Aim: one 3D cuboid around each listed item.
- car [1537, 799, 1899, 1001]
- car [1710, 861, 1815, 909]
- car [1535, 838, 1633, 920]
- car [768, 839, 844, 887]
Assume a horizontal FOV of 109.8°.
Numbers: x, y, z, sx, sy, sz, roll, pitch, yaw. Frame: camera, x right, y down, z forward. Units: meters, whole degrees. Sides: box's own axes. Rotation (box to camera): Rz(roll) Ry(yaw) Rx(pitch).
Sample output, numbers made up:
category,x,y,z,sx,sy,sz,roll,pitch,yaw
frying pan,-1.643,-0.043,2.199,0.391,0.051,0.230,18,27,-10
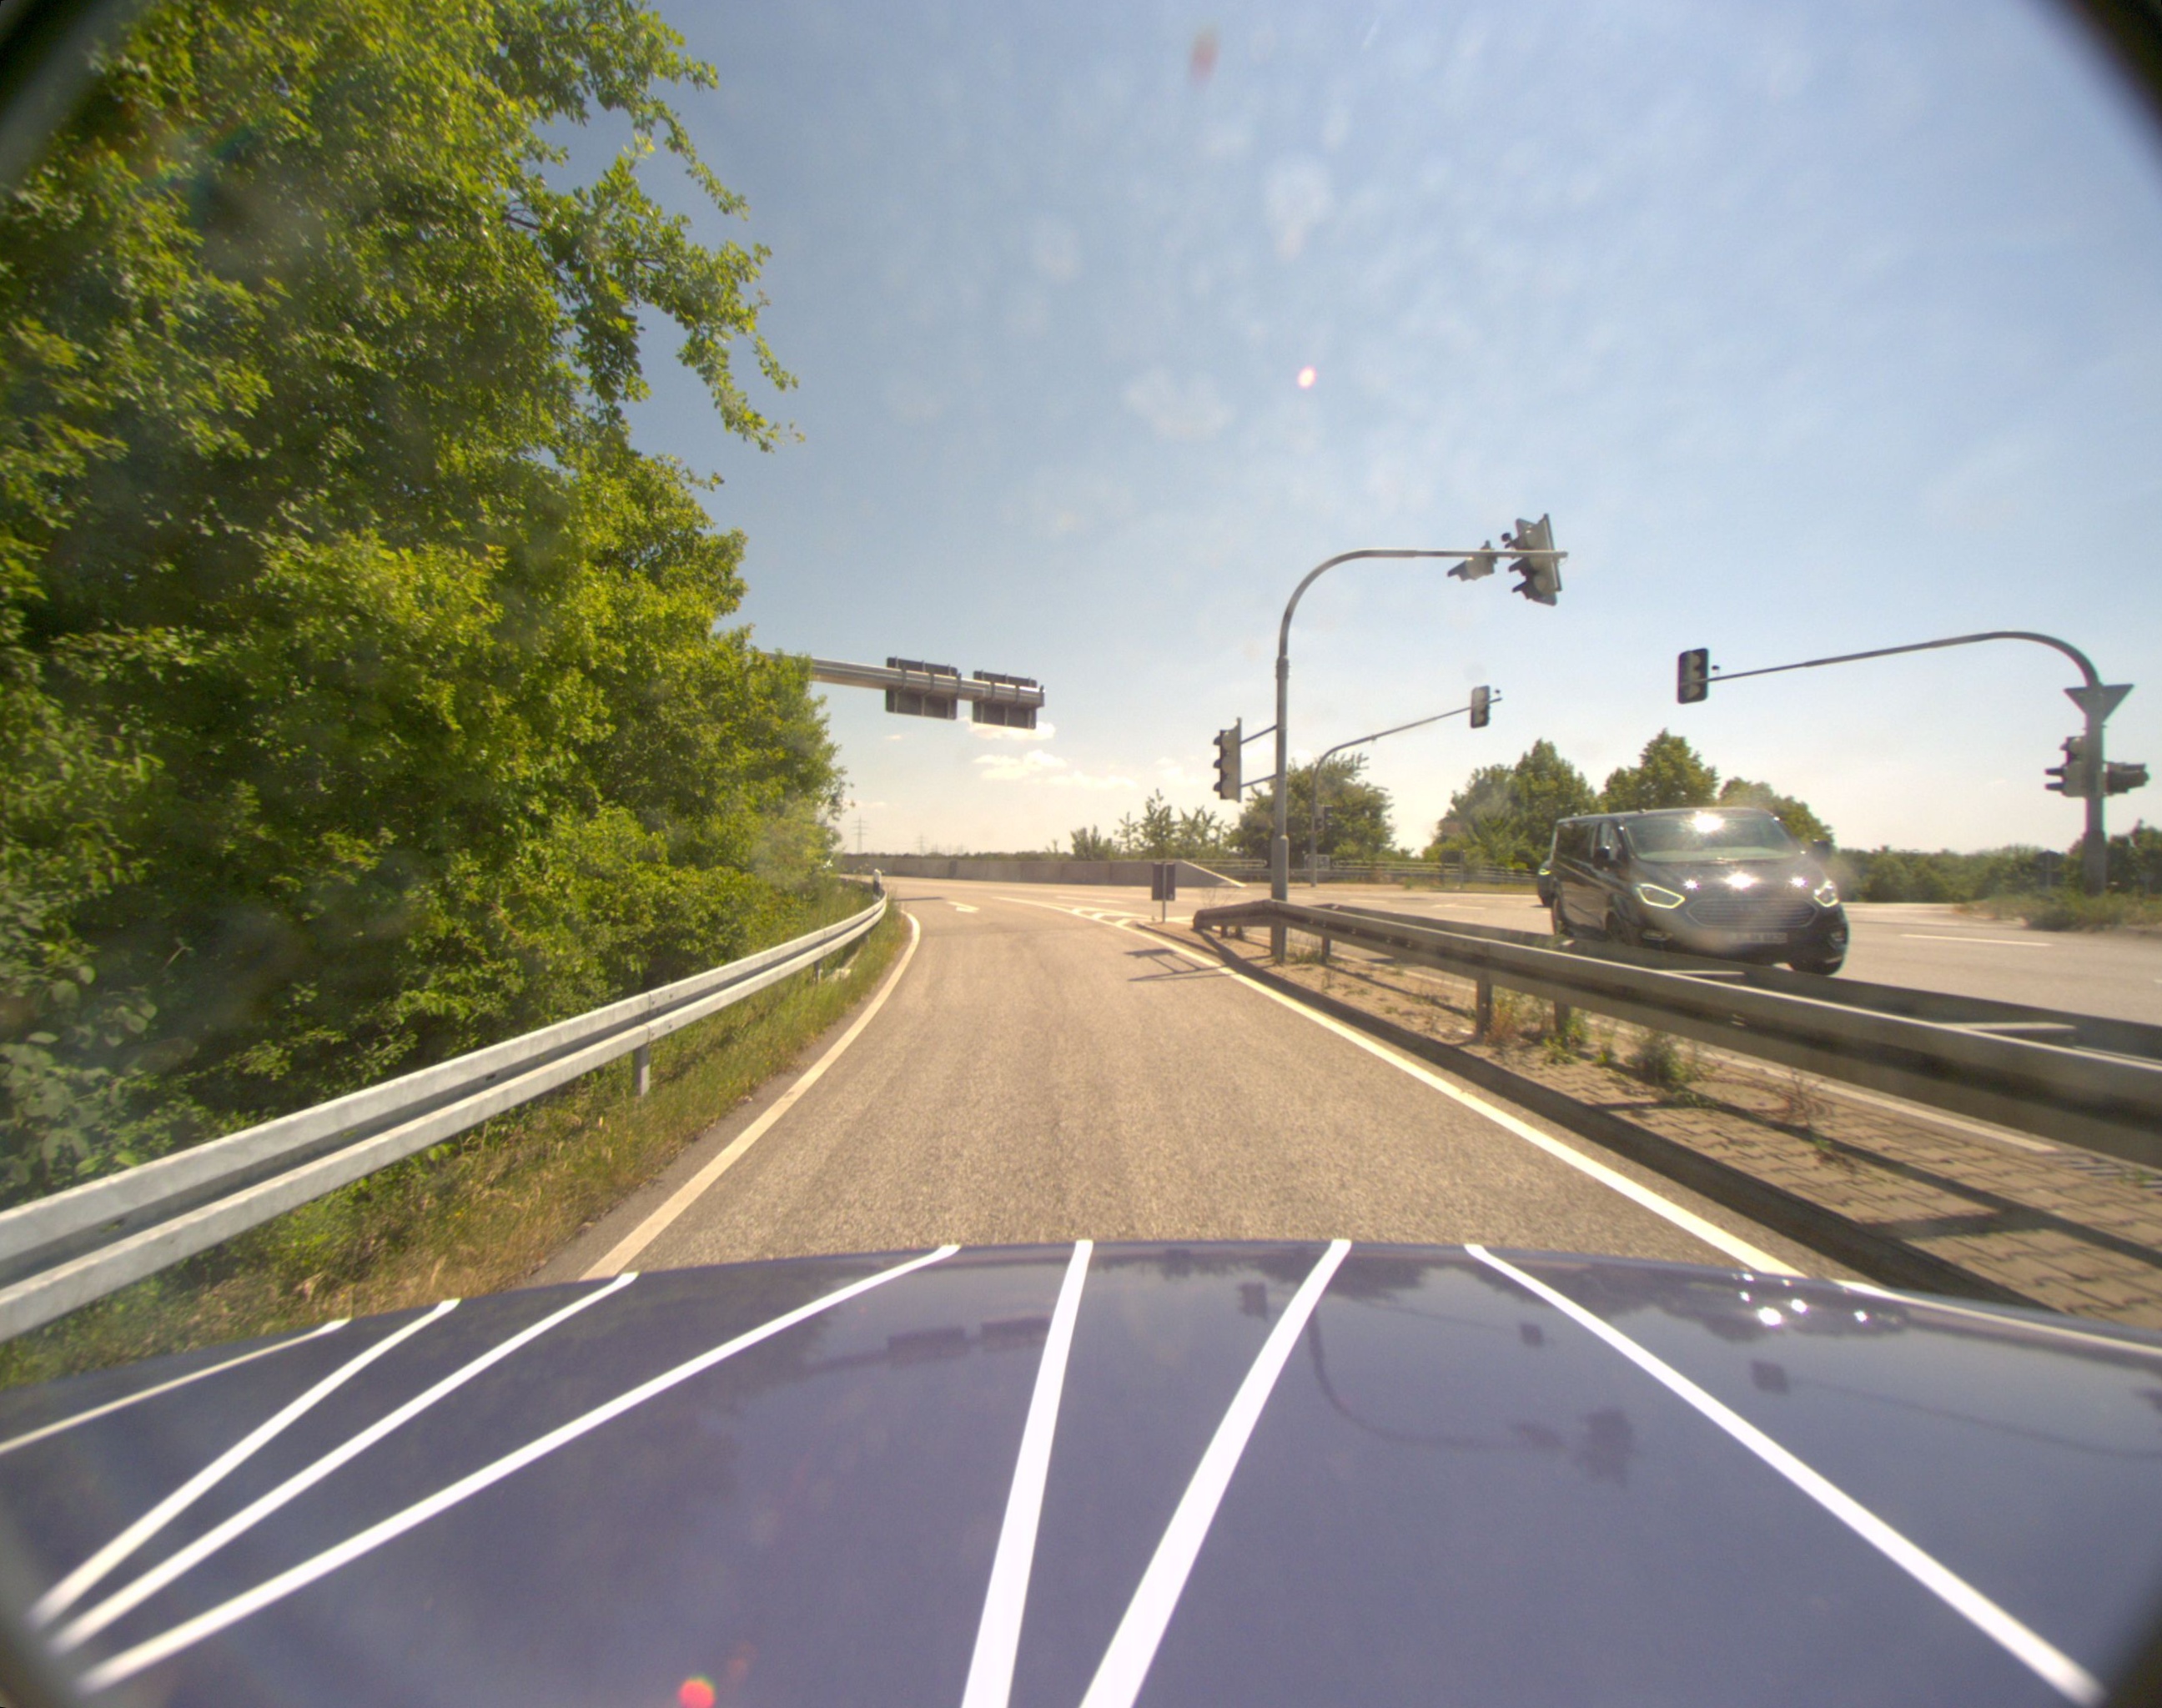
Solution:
category,x,y,z,sx,sy,sz,roll,pitch,yaw
car,7.804,0.422,10.130,2.121,1.926,5.418,-2,0,22
car,24.434,1.063,27.208,4.007,1.520,1.791,-1,0,-33
car,13.500,0.605,20.413,1.939,1.908,4.543,2,1,34
car,-14.556,0.383,39.985,2.035,2.073,5.853,-2,4,-38
